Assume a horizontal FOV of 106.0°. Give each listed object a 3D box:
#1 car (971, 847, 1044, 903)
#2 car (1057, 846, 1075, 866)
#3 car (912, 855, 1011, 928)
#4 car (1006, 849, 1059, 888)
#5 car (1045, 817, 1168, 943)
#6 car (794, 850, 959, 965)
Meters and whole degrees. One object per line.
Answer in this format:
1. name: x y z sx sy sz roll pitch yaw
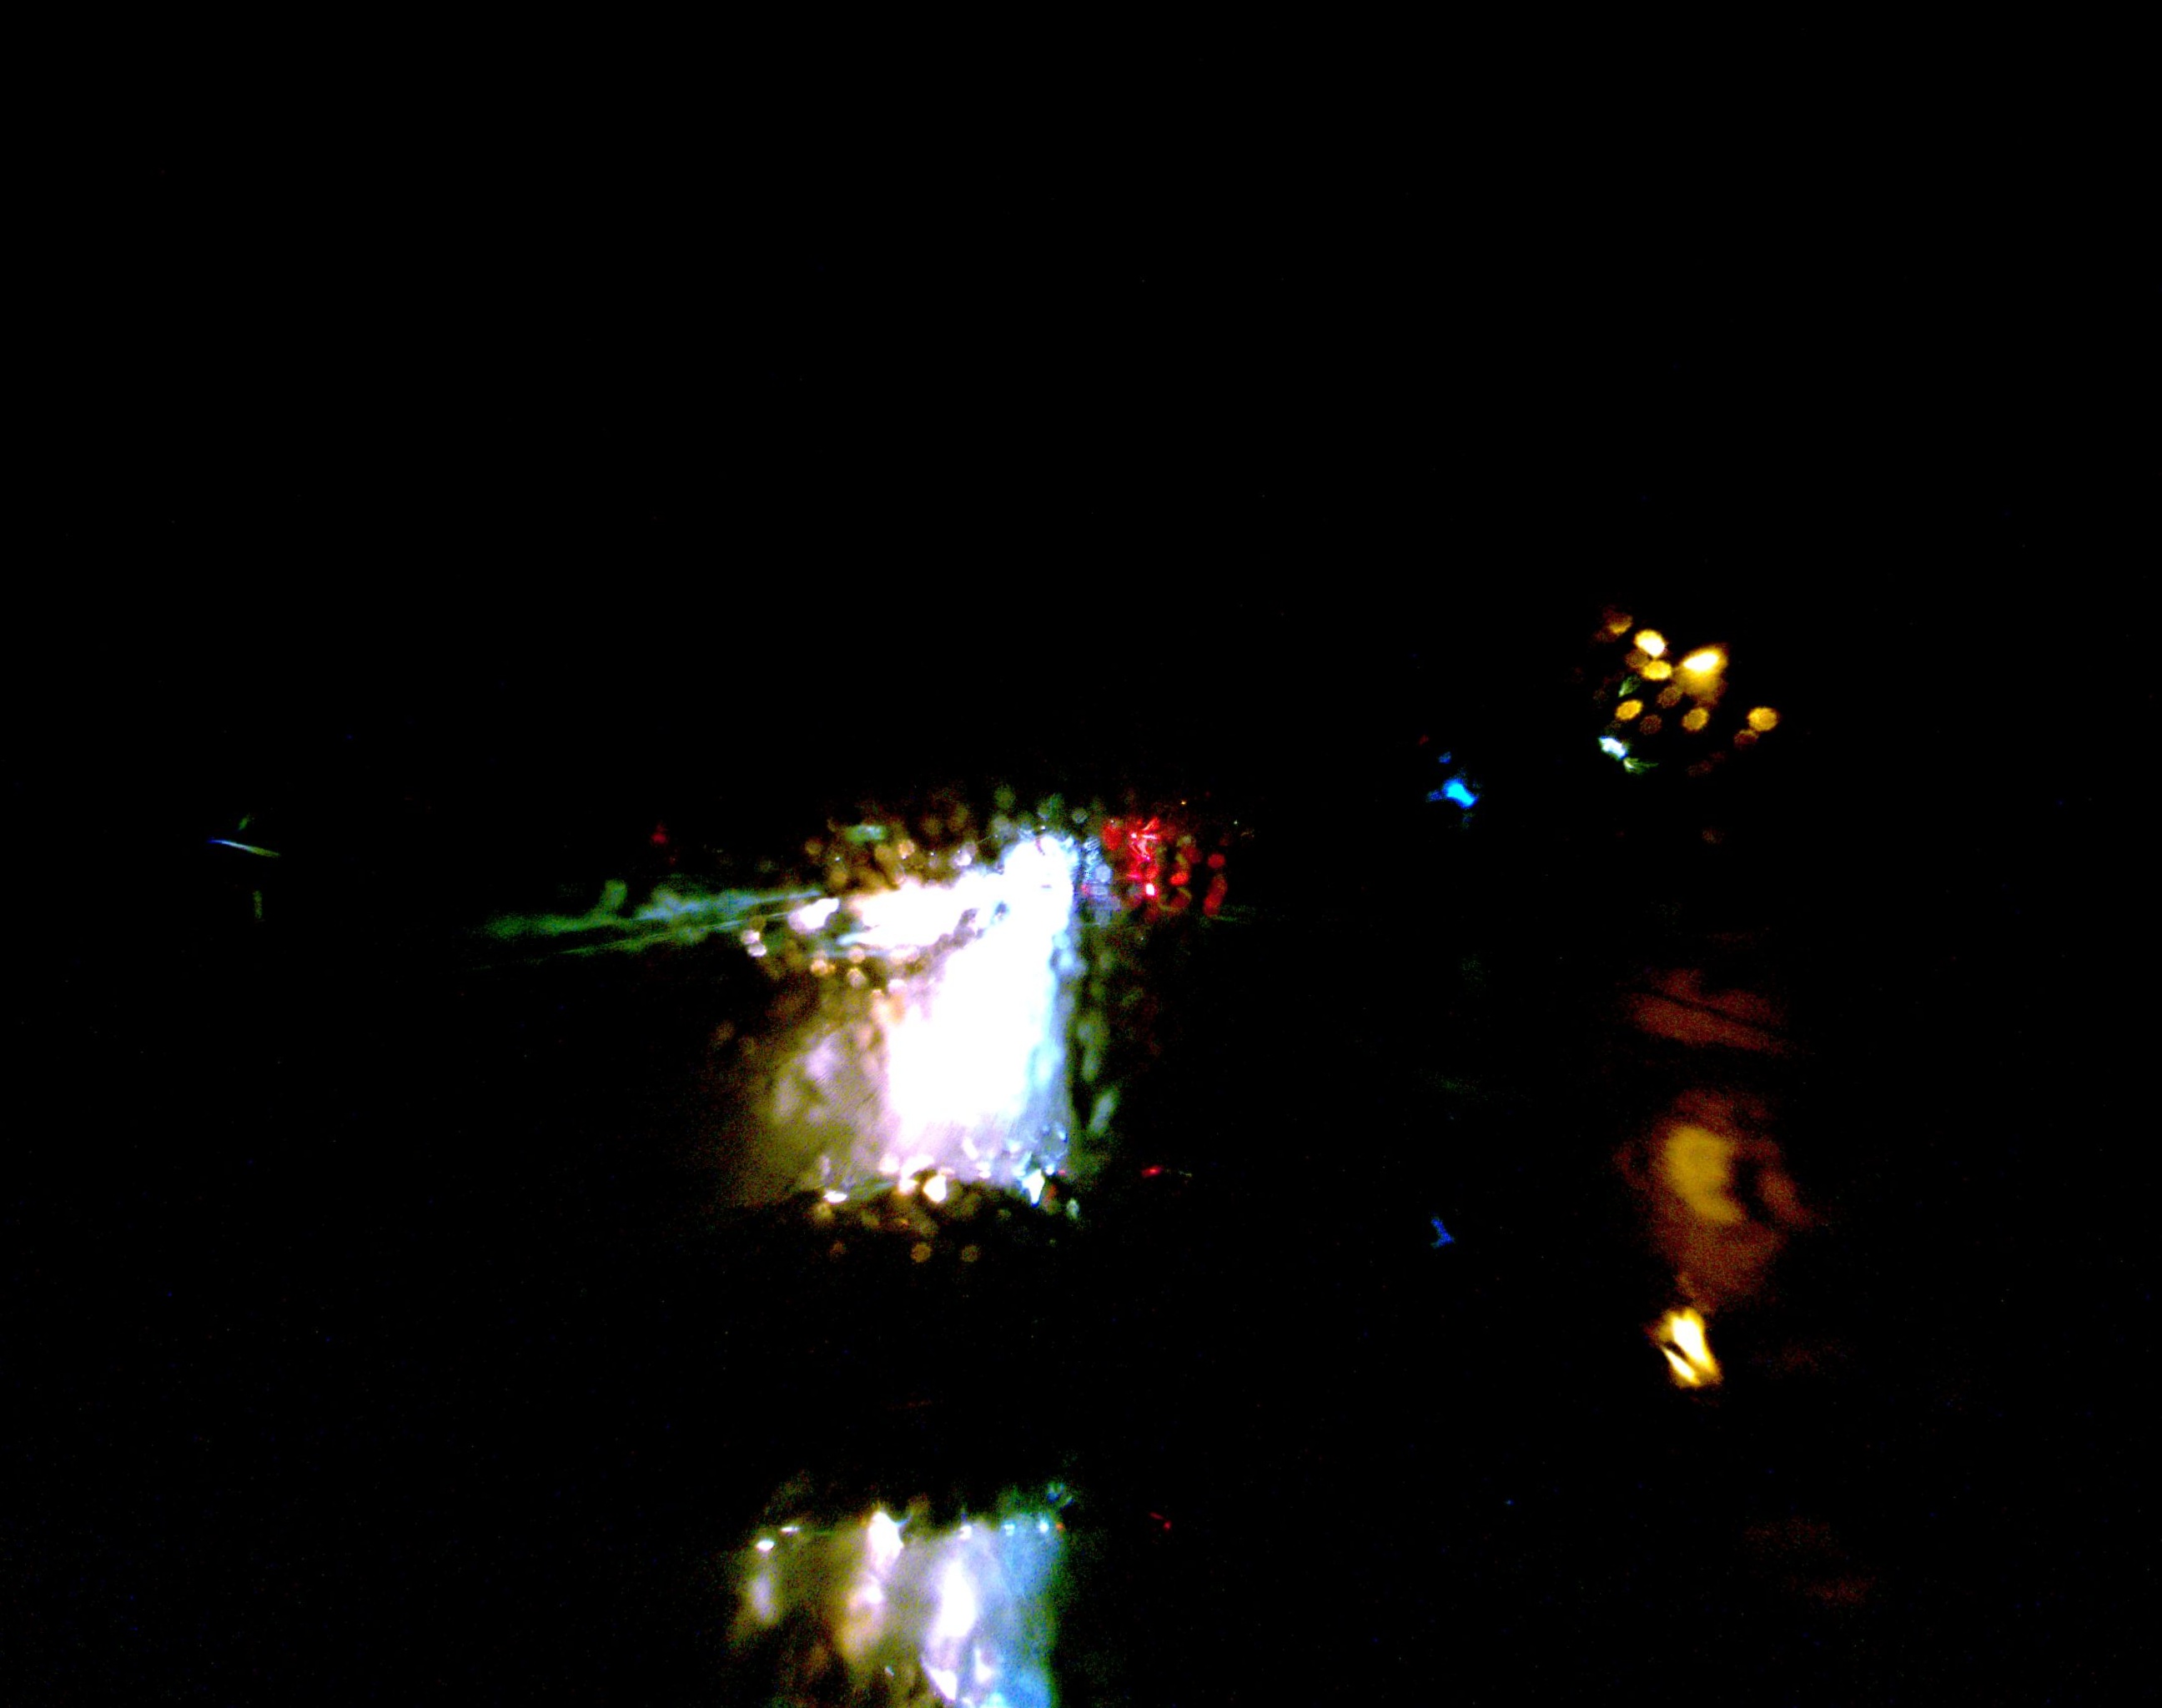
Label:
1. car: -2.324 0.637 26.961 1.837 1.668 4.447 0 0 2
2. car: -2.082 0.297 115.896 2.114 2.707 6.245 0 0 3
3. car: -2.607 0.760 18.530 1.616 1.473 3.885 0 0 1
4. car: -2.042 0.598 35.618 1.836 1.575 4.600 0 0 3
5. car: 0.447 0.404 14.937 1.935 1.972 4.219 0 0 1
6. car: -2.912 0.686 12.352 1.664 1.473 3.631 0 0 -2
